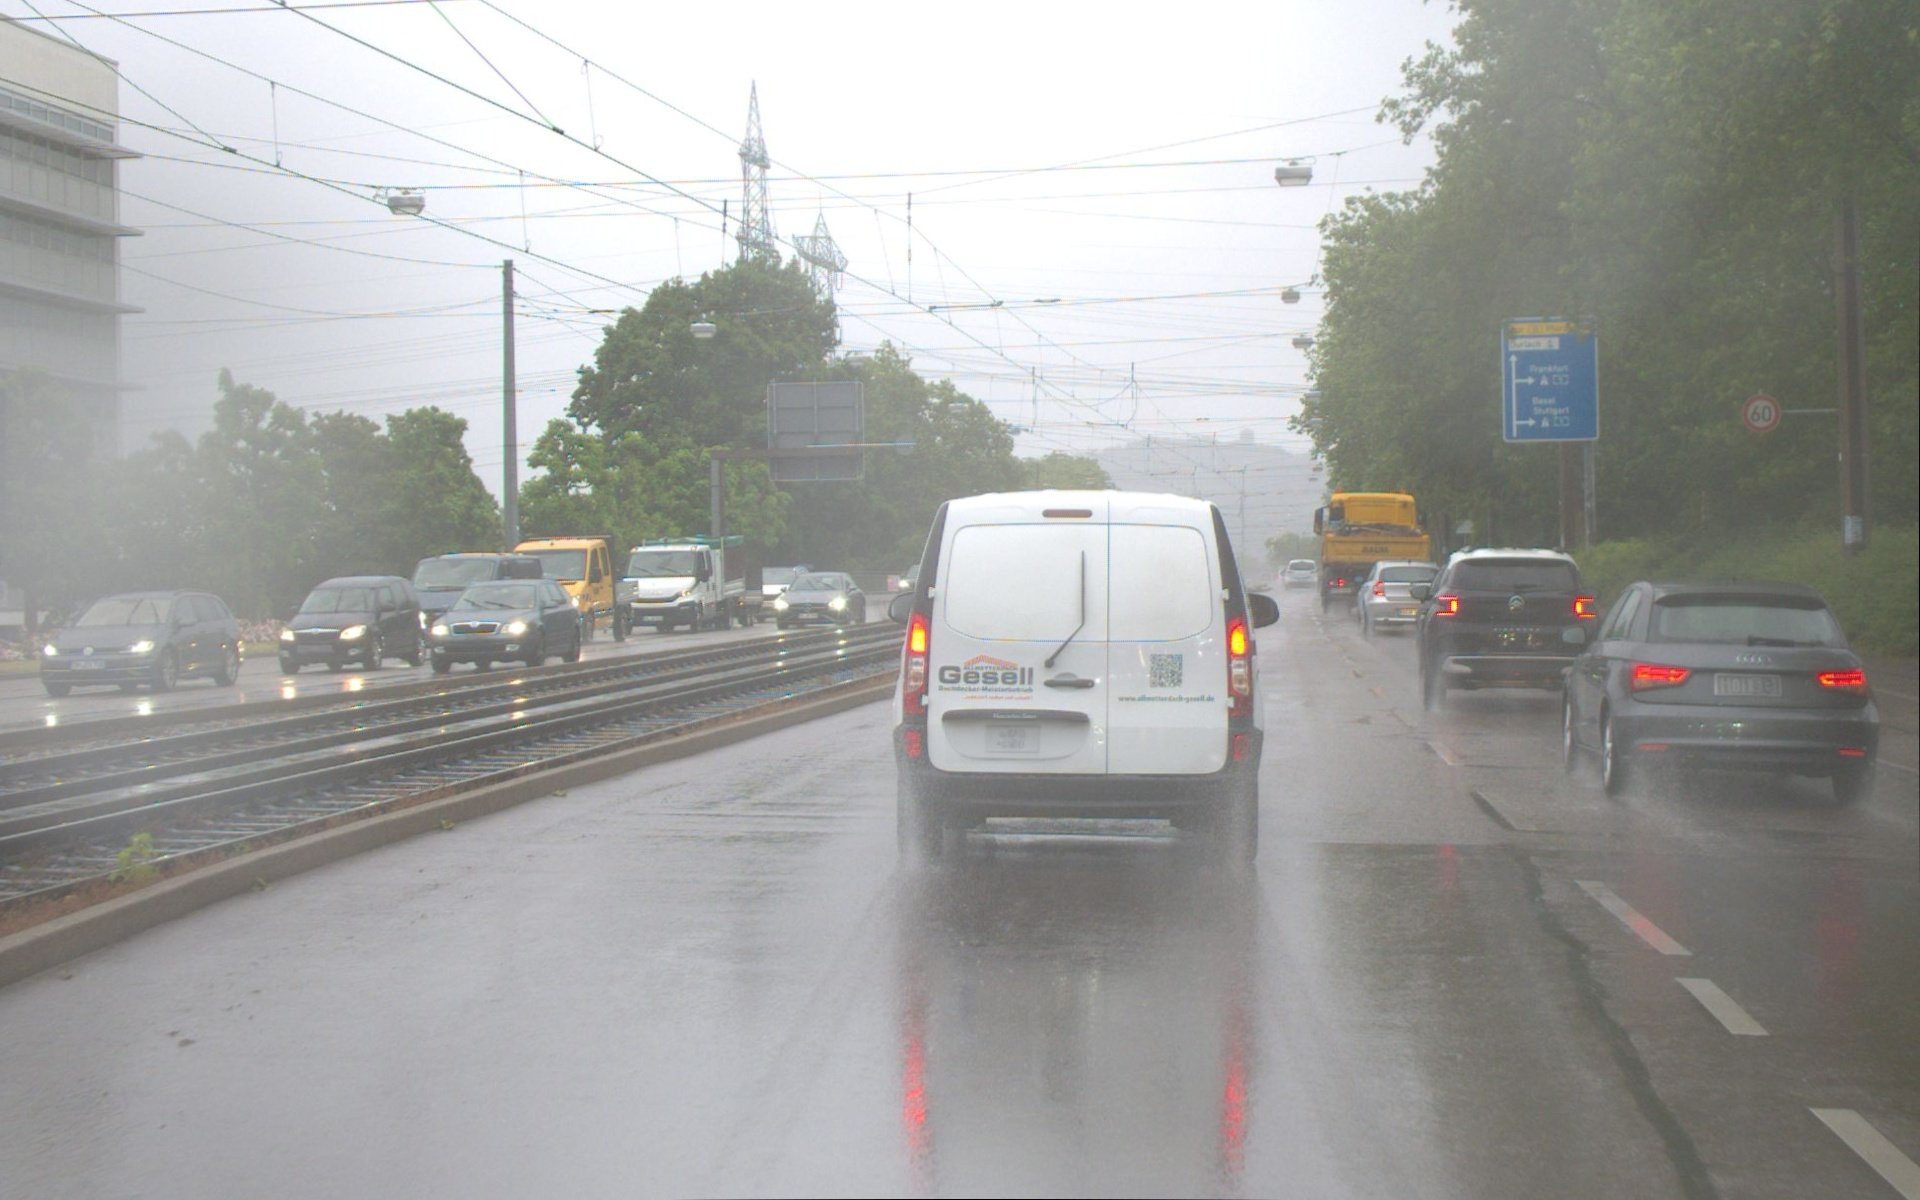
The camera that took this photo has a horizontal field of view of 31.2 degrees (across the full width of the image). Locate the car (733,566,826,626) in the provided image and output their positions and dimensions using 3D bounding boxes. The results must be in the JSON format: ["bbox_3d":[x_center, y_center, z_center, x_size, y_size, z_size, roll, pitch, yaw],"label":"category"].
[{"bbox_3d":[-5.288,-0.137,101.364,1.772,1.677,4.687,1,1,9],"label":"car"}]

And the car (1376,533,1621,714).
[{"bbox_3d":[5.495,0.179,35.622,1.899,1.711,4.726,0,1,1],"label":"car"}]

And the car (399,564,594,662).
[{"bbox_3d":[-7.514,0.197,56.215,1.994,1.452,4.670,-3,0,7],"label":"car"}]

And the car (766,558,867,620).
[{"bbox_3d":[-3.669,-0.284,88.584,1.858,1.489,4.689,-2,0,6],"label":"car"}]

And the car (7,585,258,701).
[{"bbox_3d":[-11.867,0.588,49.619,1.964,1.511,4.553,-2,0,8],"label":"car"}]

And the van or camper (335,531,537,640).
[{"bbox_3d":[-10.230,-0.307,67.650,2.305,2.007,5.684,1,1,9],"label":"van or camper"}]

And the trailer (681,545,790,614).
[{"bbox_3d":[-6.075,-0.573,93.349,2.120,1.786,3.835,1,1,9],"label":"trailer"}]

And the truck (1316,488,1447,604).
[{"bbox_3d":[10.441,-1.339,85.627,3.113,2.764,6.328,0,1,6],"label":"truck"}]

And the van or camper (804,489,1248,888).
[{"bbox_3d":[0.427,0.337,17.617,1.994,1.778,4.000,1,2,4],"label":"van or camper"}]

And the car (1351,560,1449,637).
[{"bbox_3d":[8.560,-0.051,66.981,1.818,1.409,3.777,1,1,7],"label":"car"}]

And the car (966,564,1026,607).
[{"bbox_3d":[1.407,-0.576,131.846,1.819,1.617,4.535,-1,0,6],"label":"car"}]

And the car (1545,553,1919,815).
[{"bbox_3d":[5.047,0.477,22.758,1.968,1.523,3.990,0,1,5],"label":"car"}]

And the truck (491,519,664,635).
[{"bbox_3d":[-8.556,-0.533,77.580,2.228,2.453,6.064,1,1,10],"label":"truck"}]

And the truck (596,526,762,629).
[{"bbox_3d":[-7.074,-0.591,87.499,2.436,2.449,7.216,1,1,10],"label":"truck"}]

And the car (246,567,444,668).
[{"bbox_3d":[-10.483,0.276,58.953,1.858,1.612,4.906,-2,0,8],"label":"car"}]
